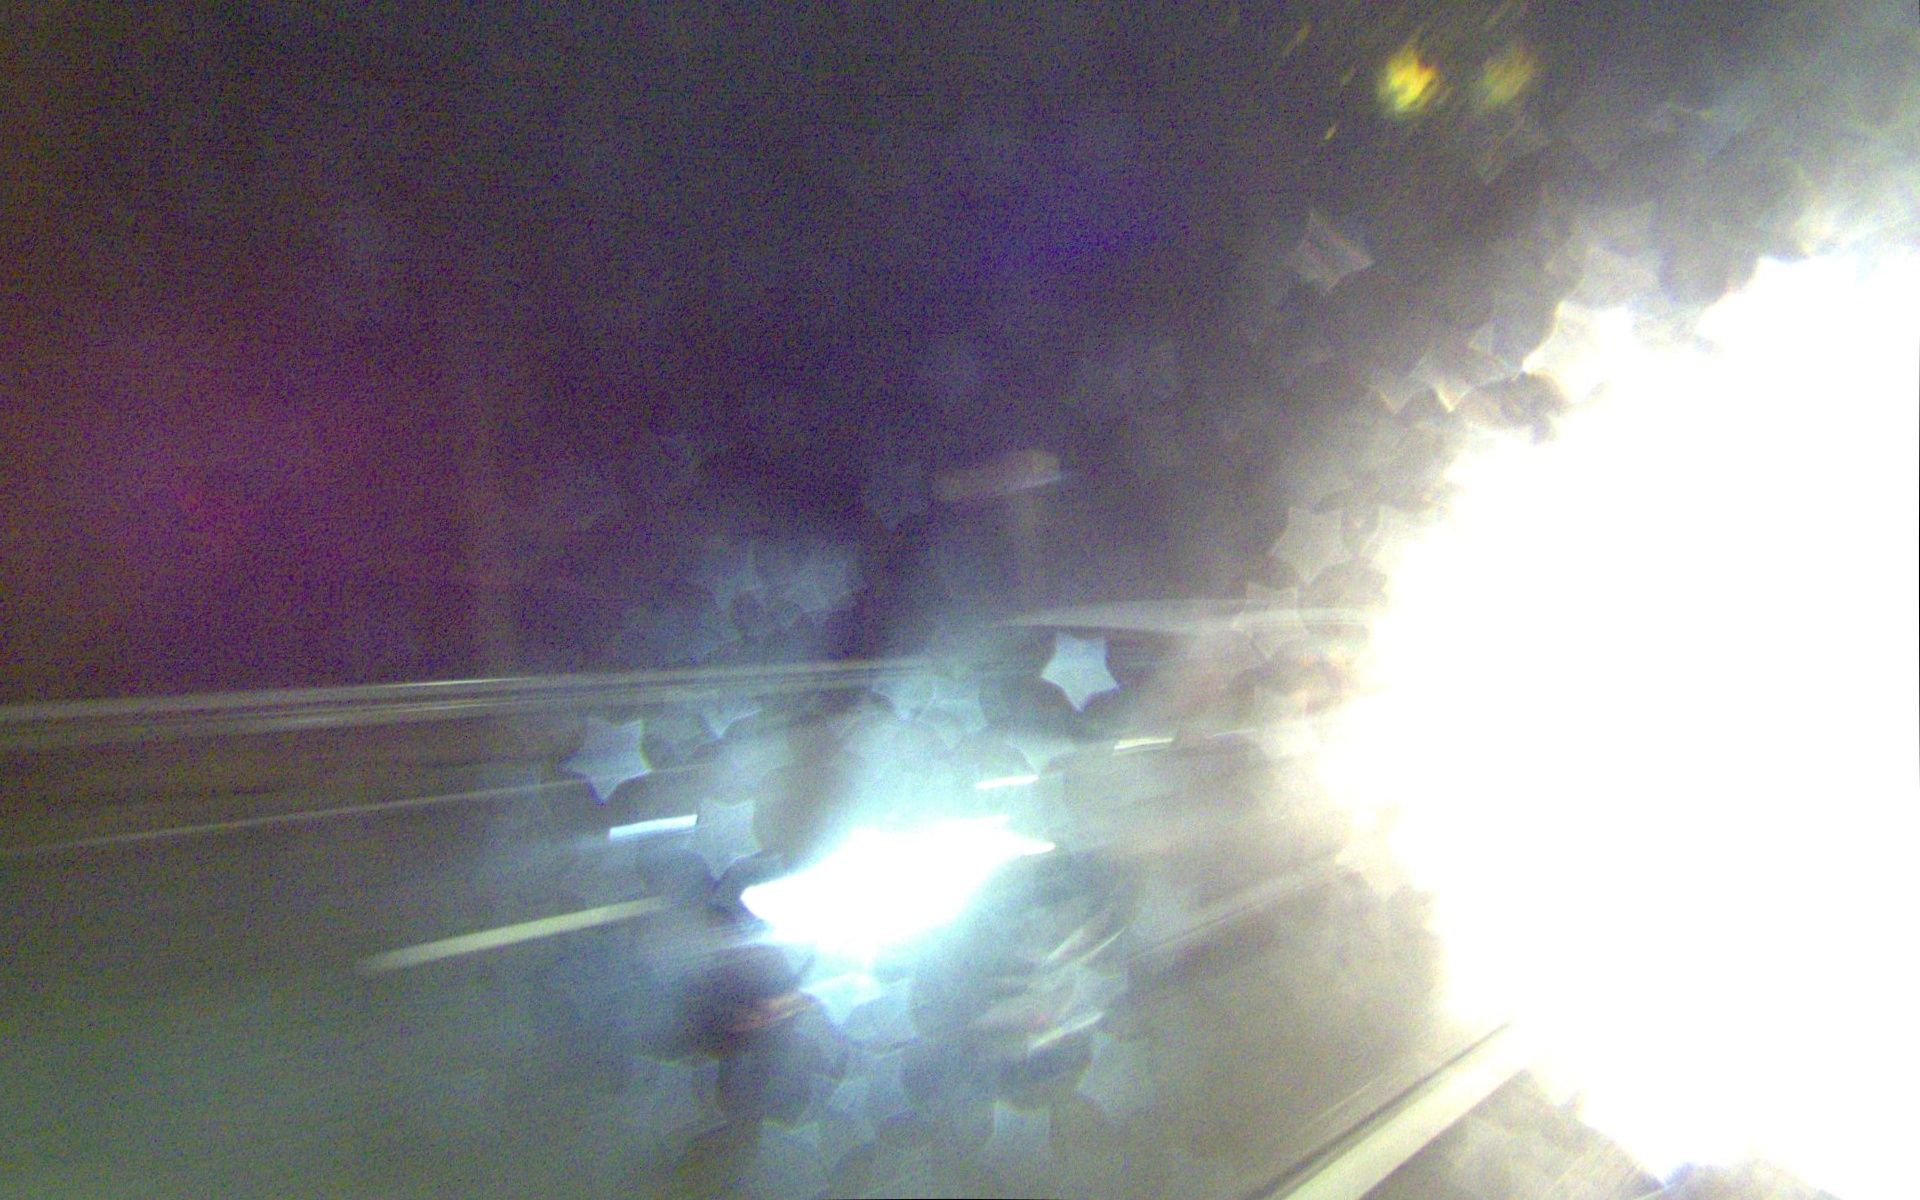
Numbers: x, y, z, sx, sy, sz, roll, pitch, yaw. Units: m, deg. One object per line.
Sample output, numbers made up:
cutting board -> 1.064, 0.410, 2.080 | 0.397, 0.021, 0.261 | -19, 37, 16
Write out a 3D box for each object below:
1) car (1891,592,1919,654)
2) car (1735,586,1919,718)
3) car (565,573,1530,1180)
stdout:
car -> 24.884, 0.552, 25.235 | 3.929, 1.482, 1.997 | 0, 1, -40
car -> 12.044, 0.578, 13.642 | 3.929, 1.520, 1.763 | -1, 1, -40
car -> 0.760, 0.653, 4.664 | 4.487, 1.503, 1.825 | -1, 1, -40
